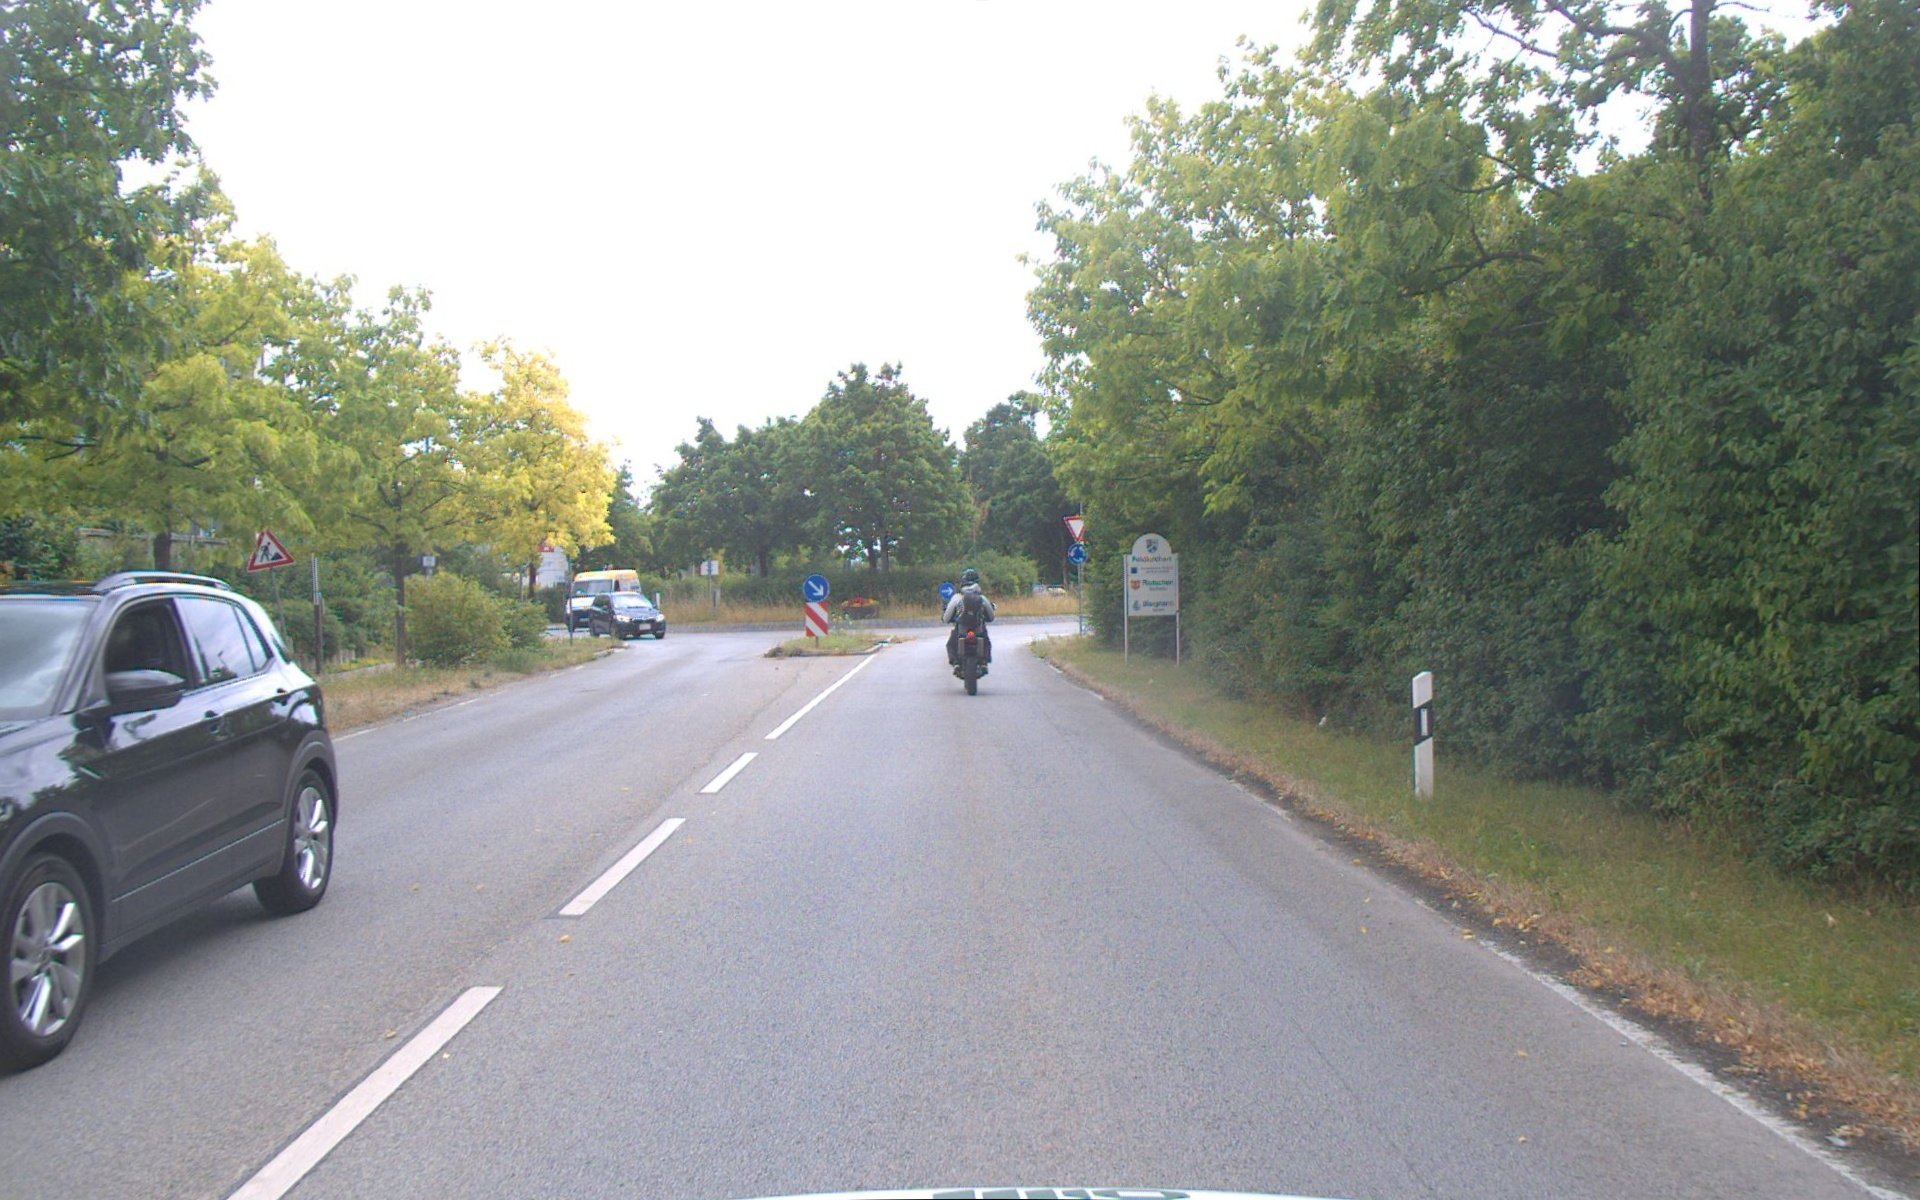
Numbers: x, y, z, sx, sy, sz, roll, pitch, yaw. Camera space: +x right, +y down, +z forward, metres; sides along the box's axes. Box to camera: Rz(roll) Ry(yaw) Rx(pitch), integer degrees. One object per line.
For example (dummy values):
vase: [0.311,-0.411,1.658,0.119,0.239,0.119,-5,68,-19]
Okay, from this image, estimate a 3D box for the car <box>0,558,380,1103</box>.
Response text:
car: [-3.736,0.686,6.418,1.699,1.561,4.092,-2,0,-4]

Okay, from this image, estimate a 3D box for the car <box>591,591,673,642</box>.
car: [-11.453,0.578,57.566,1.717,1.613,4.319,-3,0,-26]

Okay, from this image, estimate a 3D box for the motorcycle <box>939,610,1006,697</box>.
motorcycle: [0.162,0.756,24.456,0.878,1.178,2.619,-1,0,-2]

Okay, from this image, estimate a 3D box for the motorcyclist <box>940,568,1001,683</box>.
motorcyclist: [0.142,0.370,24.526,0.844,1.652,1.190,-1,0,-2]

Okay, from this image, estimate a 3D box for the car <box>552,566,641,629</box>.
car: [-15.350,-0.135,70.240,2.116,2.494,5.446,-1,1,5]
